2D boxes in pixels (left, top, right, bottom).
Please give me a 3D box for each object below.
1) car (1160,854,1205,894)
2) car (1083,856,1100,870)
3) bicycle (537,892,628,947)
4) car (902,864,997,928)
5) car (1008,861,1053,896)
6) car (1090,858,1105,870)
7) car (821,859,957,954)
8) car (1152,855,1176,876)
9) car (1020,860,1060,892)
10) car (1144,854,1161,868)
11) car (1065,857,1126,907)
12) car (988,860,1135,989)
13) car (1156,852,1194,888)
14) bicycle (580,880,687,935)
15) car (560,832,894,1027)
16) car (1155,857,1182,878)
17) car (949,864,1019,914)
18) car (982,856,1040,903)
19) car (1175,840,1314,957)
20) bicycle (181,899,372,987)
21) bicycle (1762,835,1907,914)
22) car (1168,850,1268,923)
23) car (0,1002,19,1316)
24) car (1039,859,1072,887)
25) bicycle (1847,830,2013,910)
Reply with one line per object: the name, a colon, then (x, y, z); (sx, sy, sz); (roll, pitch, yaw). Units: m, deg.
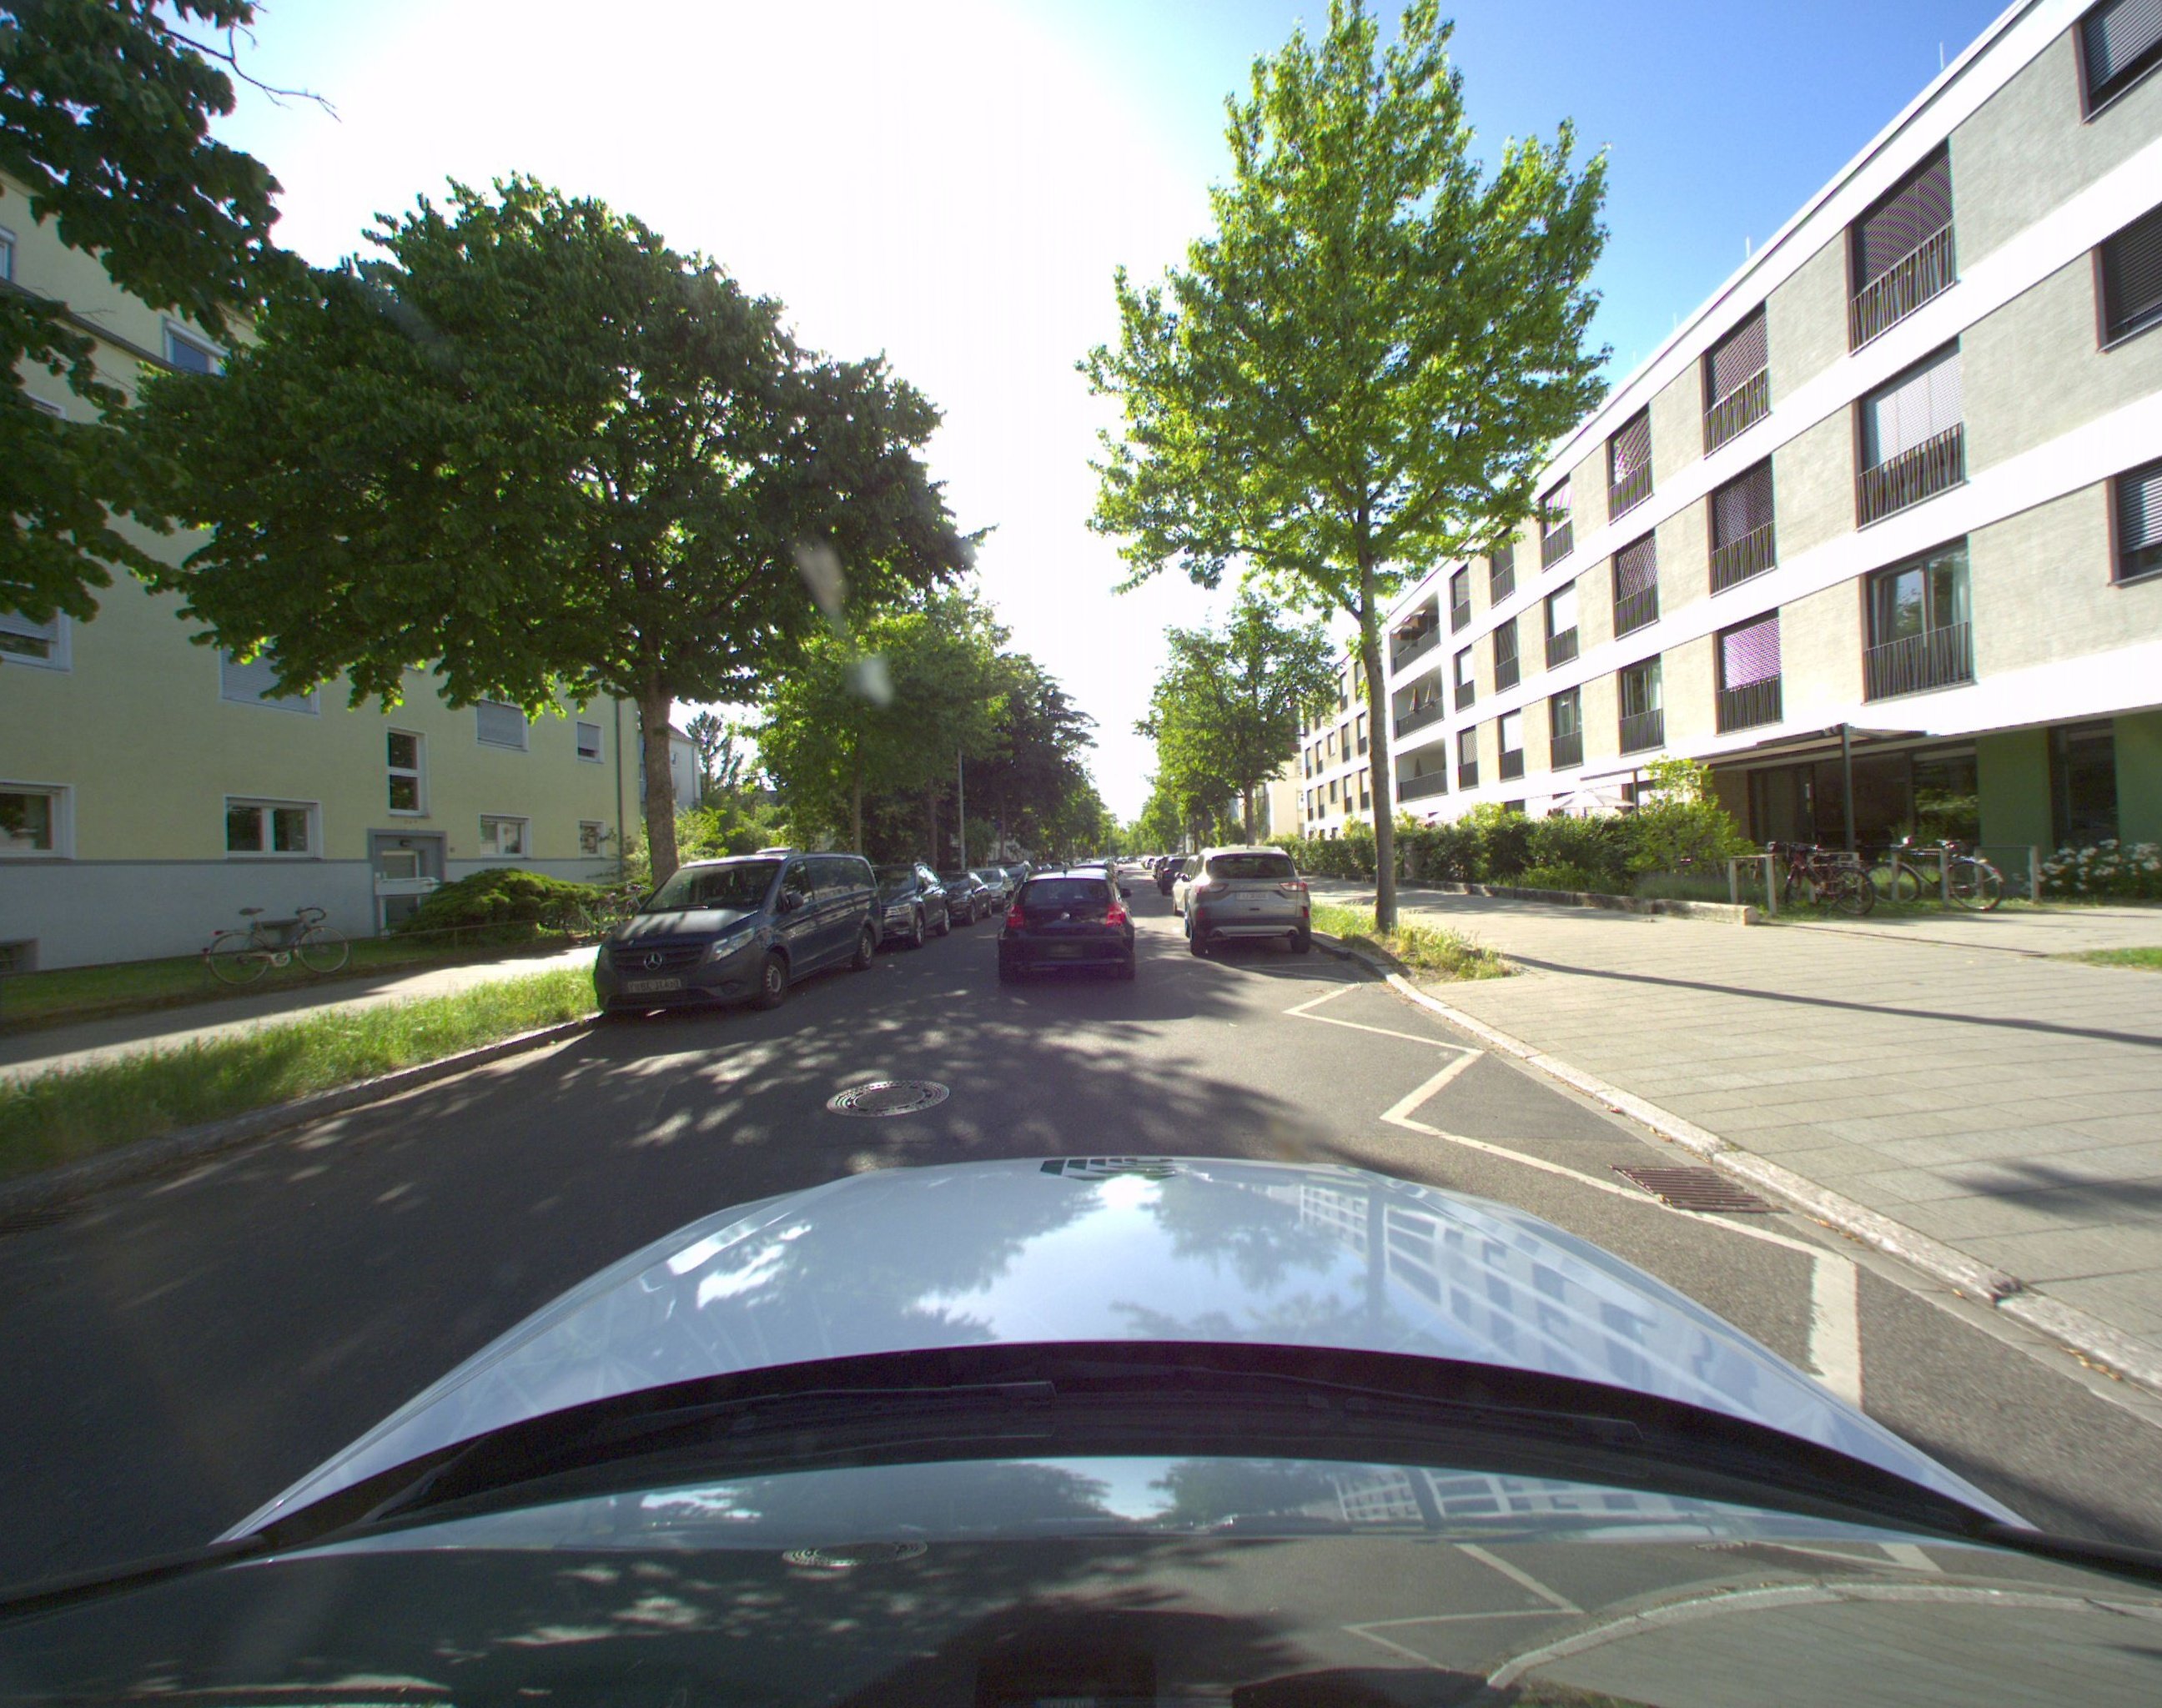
car: (4.190, 0.792, 33.985); (1.713, 1.528, 4.005); (0, 0, 5)
car: (1.154, 0.981, 88.869); (1.605, 1.392, 3.869); (-4, 0, 3)
bicycle: (-10.510, 1.351, 17.246); (0.592, 0.991, 1.930); (-3, 0, 4)
car: (-3.455, 1.068, 22.102); (1.605, 1.427, 4.061); (-4, 0, 3)
car: (-2.324, 1.113, 38.318); (1.605, 1.452, 3.869); (-4, 0, 3)
car: (2.095, 1.271, 103.104); (1.605, 1.392, 3.869); (-3, 0, 3)
car: (-3.791, 0.956, 16.800); (1.606, 1.611, 4.231); (-4, 0, 1)
car: (6.048, 0.853, 59.861); (1.713, 1.480, 3.856); (0, 0, 5)
car: (-2.130, 1.125, 42.930); (1.605, 1.452, 3.869); (-4, 0, 3)
car: (8.361, 0.814, 95.117); (1.712, 1.480, 3.858); (-3, 0, 7)
car: (0.559, 0.880, 26.962); (1.641, 1.425, 4.007); (-3, 0, 5)
car: (-0.208, 0.828, 11.193); (1.644, 1.397, 3.411); (-3, 0, 0)
car: (4.569, 0.753, 39.987); (1.713, 1.641, 3.856); (0, 0, 5)
bicycle: (-11.044, 1.311, 20.155); (2.143, 1.208, 0.688); (-3, 0, -8)
car: (-4.273, 0.795, 11.016); (1.818, 1.904, 5.148); (-4, 0, 4)
car: (5.902, 0.881, 55.069); (1.713, 1.379, 3.856); (0, 0, 5)
car: (-3.168, 1.103, 27.193); (1.605, 1.427, 3.728); (-4, 0, 3)
car: (-2.725, 0.968, 32.624); (1.605, 1.679, 4.237); (-4, 0, 3)
car: (2.591, 0.670, 13.894); (1.839, 1.631, 4.417); (-2, -1, 5)
bicycle: (-11.056, 1.182, 11.302); (0.592, 0.991, 1.930); (-3, 0, 4)
bicycle: (11.030, 0.291, 12.007); (0.544, 1.055, 1.692); (-3, -1, 1)
car: (3.165, 0.715, 19.570); (1.688, 1.524, 3.999); (-2, 0, 0)
car: (-4.901, 0.971, 0.682); (1.501, 1.548, 4.782); (-5, -1, 3)
car: (-1.511, 1.131, 49.825); (1.605, 1.543, 3.869); (-4, 0, 3)
bicycle: (12.387, 0.224, 11.973); (0.544, 1.055, 1.780); (-3, -1, 1)
